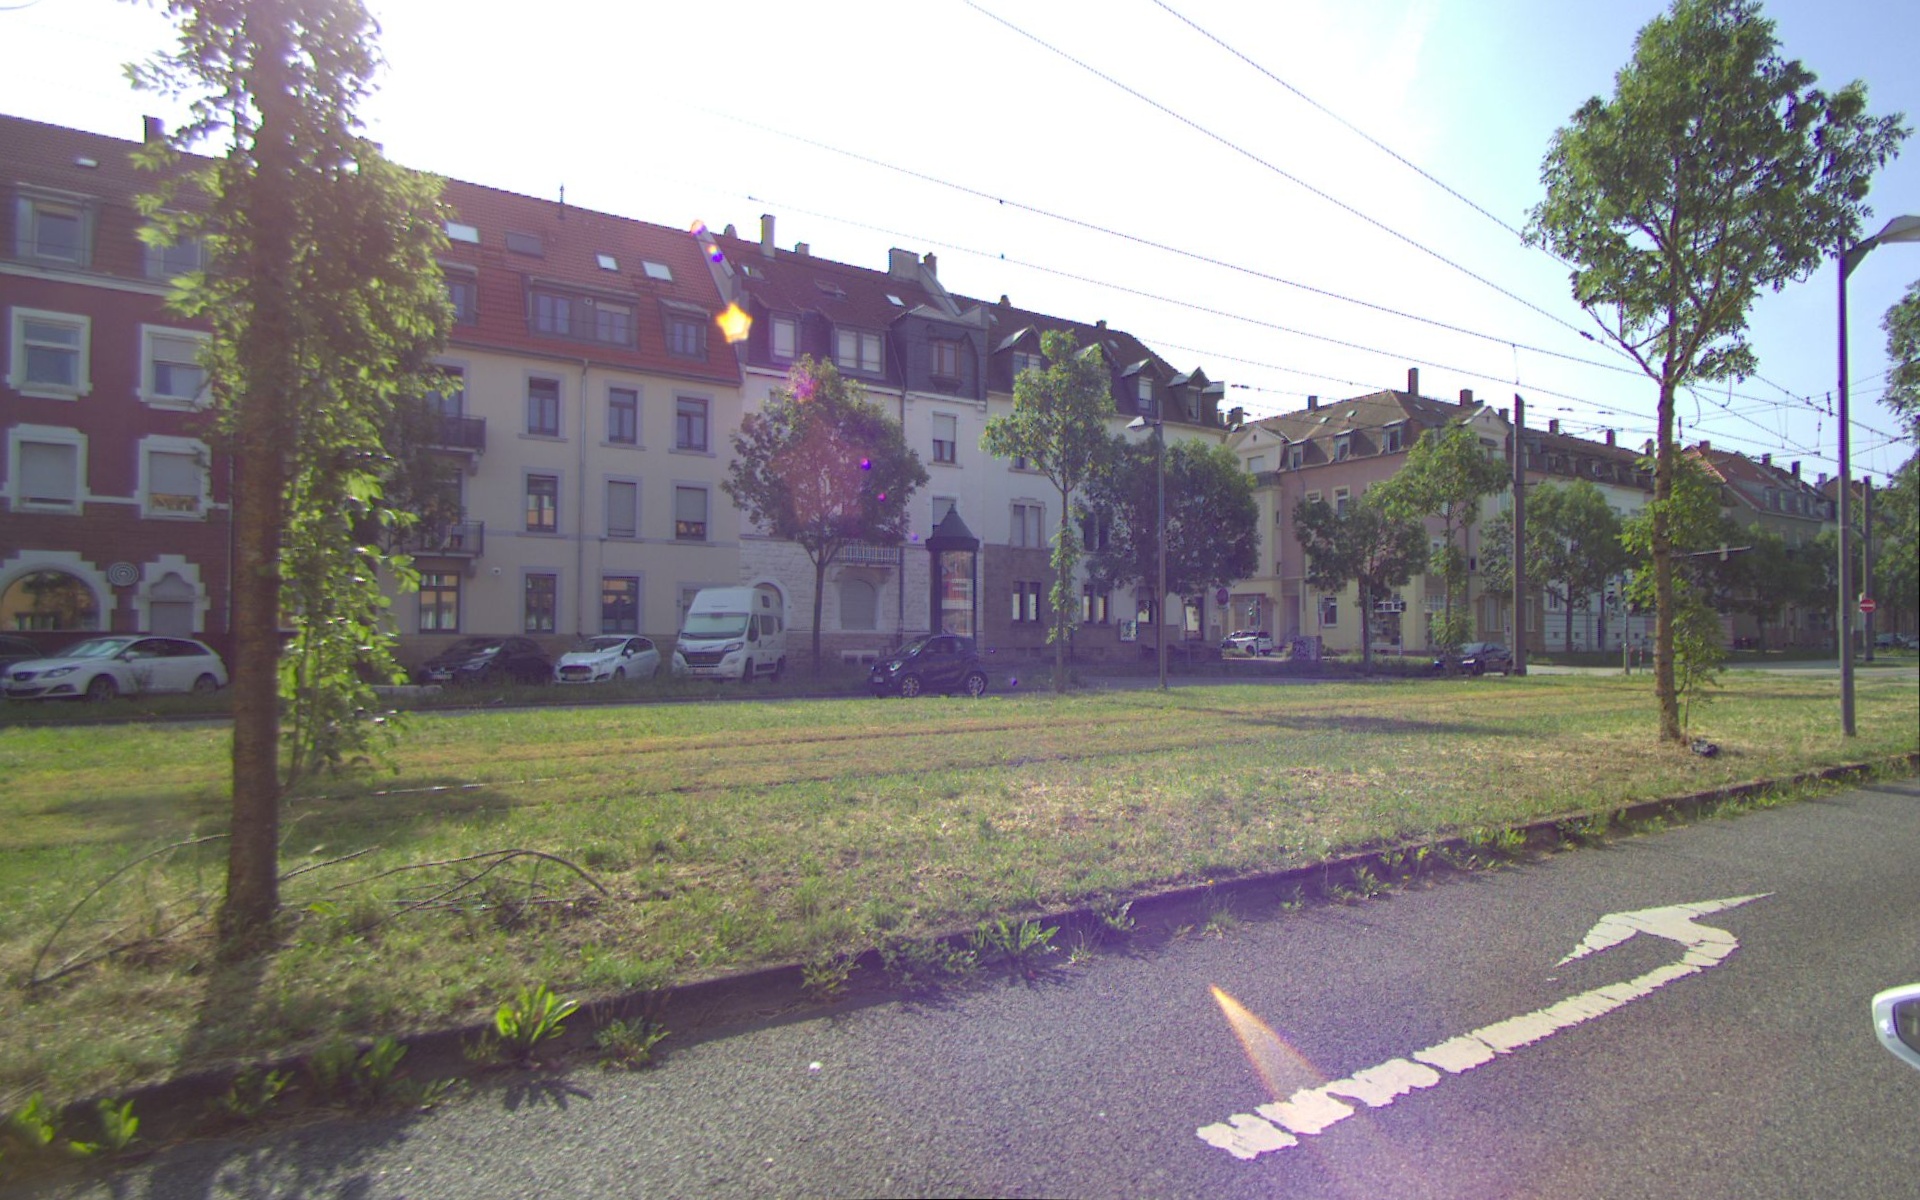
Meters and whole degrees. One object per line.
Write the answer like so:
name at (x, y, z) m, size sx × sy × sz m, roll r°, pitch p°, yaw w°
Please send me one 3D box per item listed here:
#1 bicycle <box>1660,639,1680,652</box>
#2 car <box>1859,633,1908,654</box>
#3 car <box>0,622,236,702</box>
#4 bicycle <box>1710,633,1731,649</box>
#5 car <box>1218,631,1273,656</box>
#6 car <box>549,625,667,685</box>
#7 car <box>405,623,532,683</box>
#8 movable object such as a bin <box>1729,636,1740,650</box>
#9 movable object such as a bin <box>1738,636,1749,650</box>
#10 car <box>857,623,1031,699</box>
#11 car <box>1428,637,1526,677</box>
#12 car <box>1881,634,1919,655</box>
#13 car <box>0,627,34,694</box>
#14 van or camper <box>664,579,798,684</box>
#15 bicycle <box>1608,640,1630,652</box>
bicycle at (49.197, 3.165, 69.603) m, size 1.927 × 0.868 × 0.444 m, roll 2°, pitch 0°, yaw -34°
car at (78.166, 3.675, 85.023) m, size 4.726 × 1.650 × 1.981 m, roll 2°, pitch 0°, yaw -34°
car at (-17.244, 1.197, 20.658) m, size 1.629 × 1.334 × 4.016 m, roll 2°, pitch 0°, yaw 3°
bicycle at (56.000, 3.041, 73.988) m, size 1.927 × 1.143 × 0.600 m, roll 2°, pitch 0°, yaw -34°
car at (19.157, 2.923, 67.515) m, size 1.554 × 1.481 × 3.376 m, roll 2°, pitch 0°, yaw -34°
car at (-9.213, 1.404, 26.590) m, size 1.629 × 1.349 × 3.688 m, roll 2°, pitch 0°, yaw 3°
car at (-12.237, 1.289, 25.258) m, size 1.631 × 1.258 × 3.683 m, roll 2°, pitch 0°, yaw -6°
movable object such as a bin at (68.860, 3.797, 89.320) m, size 0.634 × 1.227 × 0.581 m, roll 2°, pitch 0°, yaw -33°
movable object such as a bin at (69.228, 3.781, 88.737) m, size 0.634 × 1.227 × 0.581 m, roll 2°, pitch 0°, yaw -33°
car at (-0.375, 1.497, 25.054) m, size 3.953 × 1.677 × 1.756 m, roll 2°, pitch 0°, yaw -30°
car at (20.805, 2.285, 40.359) m, size 3.884 × 1.452 × 1.801 m, roll 2°, pitch 0°, yaw -33°
car at (83.010, 3.903, 88.258) m, size 4.107 × 1.650 × 1.881 m, roll 2°, pitch 0°, yaw -30°
car at (-19.646, 1.169, 18.510) m, size 1.629 × 1.258 × 3.688 m, roll 2°, pitch 0°, yaw 3°
van or camper at (-6.364, 0.808, 28.755) m, size 2.155 × 2.608 × 5.928 m, roll 2°, pitch 0°, yaw 3°
bicycle at (43.498, 3.030, 66.292) m, size 1.927 × 0.799 × 0.434 m, roll 2°, pitch 0°, yaw -34°
